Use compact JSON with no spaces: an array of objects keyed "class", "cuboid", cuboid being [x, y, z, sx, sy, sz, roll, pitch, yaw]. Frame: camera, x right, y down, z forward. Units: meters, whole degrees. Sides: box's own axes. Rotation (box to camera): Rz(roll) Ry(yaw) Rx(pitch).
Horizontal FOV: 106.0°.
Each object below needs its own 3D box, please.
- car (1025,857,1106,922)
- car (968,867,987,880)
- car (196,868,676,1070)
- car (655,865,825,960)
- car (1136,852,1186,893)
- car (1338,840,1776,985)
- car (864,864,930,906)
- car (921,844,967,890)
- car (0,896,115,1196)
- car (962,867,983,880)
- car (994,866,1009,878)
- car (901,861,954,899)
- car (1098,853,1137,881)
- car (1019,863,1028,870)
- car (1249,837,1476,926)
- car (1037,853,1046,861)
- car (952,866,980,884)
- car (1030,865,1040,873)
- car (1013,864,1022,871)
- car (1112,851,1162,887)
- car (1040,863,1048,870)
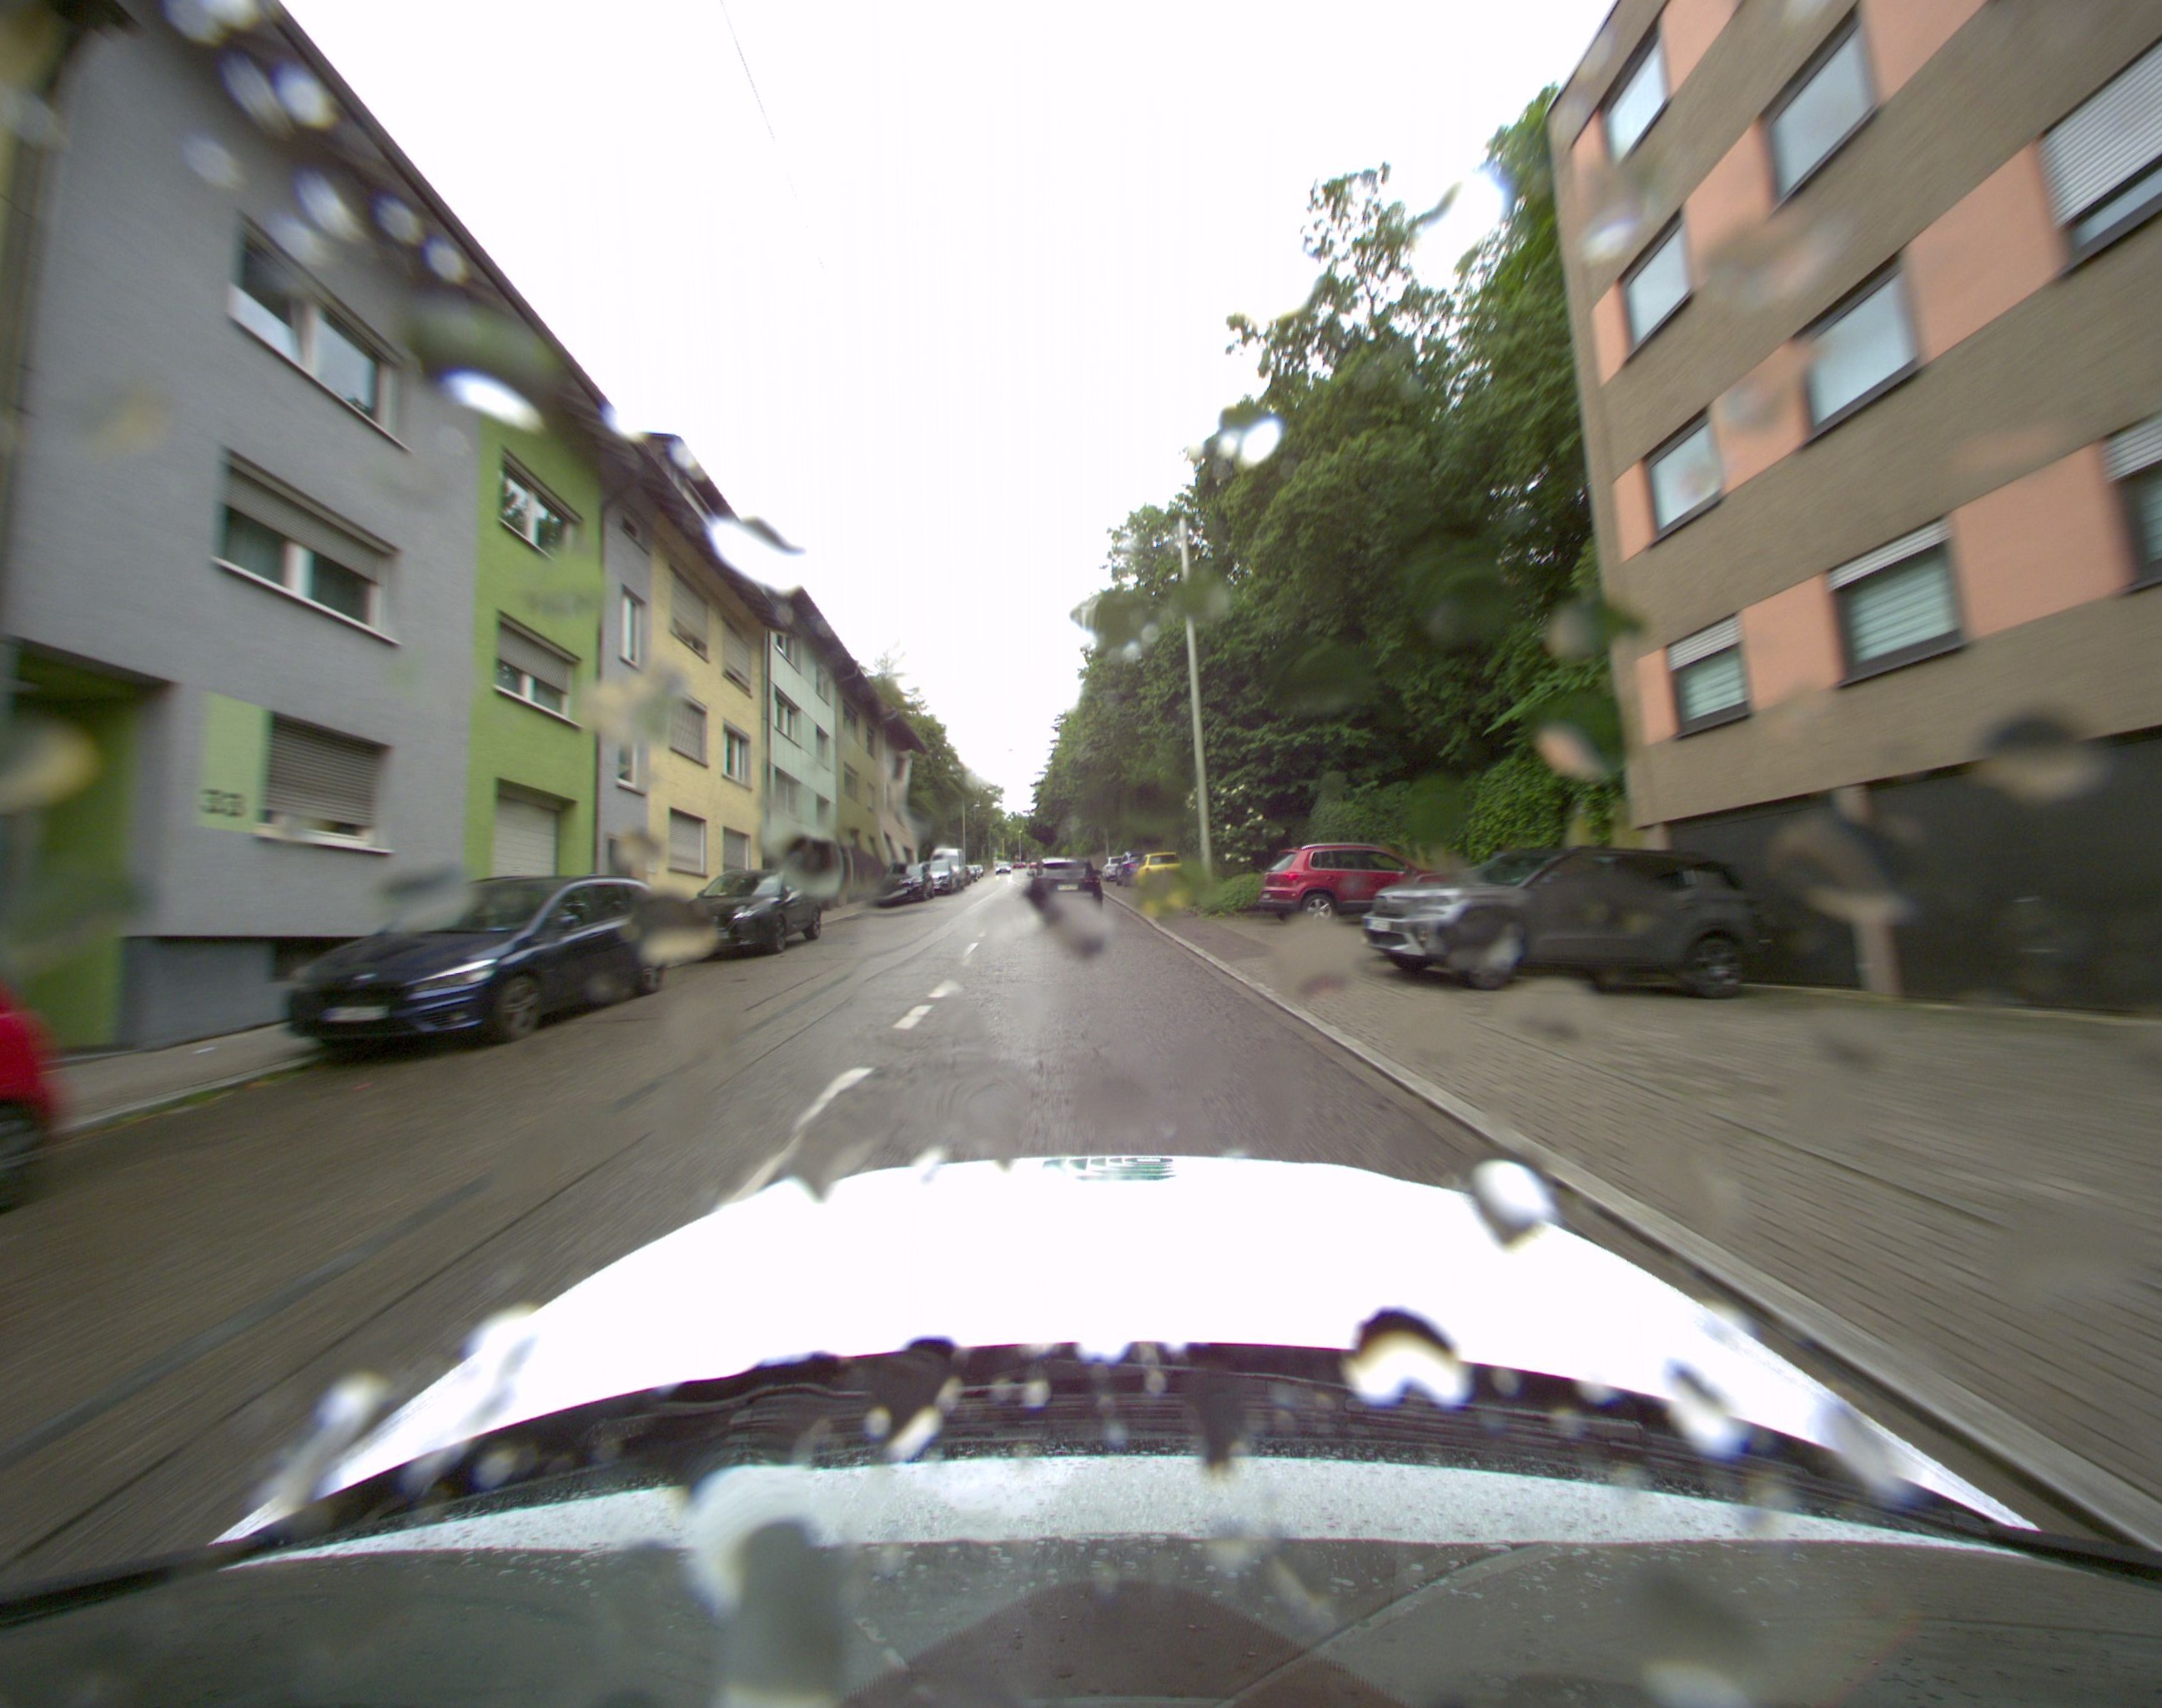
[{"class":"car","cuboid":[-0.462,0.873,21.897,1.989,1.559,3.996,0,0,-3]},{"class":"car","cuboid":[-13.037,2.442,102.768,1.986,1.384,4.452,-2,0,-4]},{"class":"car","cuboid":[-6.579,1.007,9.165,1.989,1.585,4.465,-2,0,-4]},{"class":"car","cuboid":[-6.758,1.070,16.711,1.849,1.585,4.299,-2,0,-4]},{"class":"car","cuboid":[3.141,0.715,32.656,1.628,1.530,3.999,-1,-1,0]},{"class":"car","cuboid":[5.361,0.644,9.483,4.191,1.496,1.757,1,-1,-5]},{"class":"car","cuboid":[-7.661,1.251,34.315,1.986,1.585,4.299,-2,0,-4]},{"class":"car","cuboid":[-7.860,0.720,47.262,1.986,2.475,5.776,-2,0,-4]},{"class":"car","cuboid":[-6.208,0.992,2.774,1.725,1.472,3.486,-2,0,-4]},{"class":"car","cuboid":[-12.247,2.182,91.774,1.986,1.384,4.452,-2,0,-4]},{"class":"car","cuboid":[-10.574,2.389,108.603,1.990,1.559,3.994,0,0,-4]},{"class":"car","cuboid":[-7.553,1.240,40.566,1.986,1.755,4.474,-2,0,-4]},{"class":"car","cuboid":[2.204,0.817,50.504,1.808,1.530,4.409,-4,-1,-5]},{"class":"car","cuboid":[-14.092,3.016,199.928,2.070,1.559,3.994,-1,-1,-4]},{"class":"car","cuboid":[5.829,0.573,17.125,4.193,1.735,1.756,1,-1,-7]},{"class":"car","cuboid":[-9.315,0.649,192.171,1.987,1.560,3.998,-3,-2,0]},{"class":"car","cuboid":[-9.916,1.819,70.673,1.986,1.384,4.452,-2,0,-4]},{"class":"car","cuboid":[-9.905,3.184,174.483,2.072,1.559,3.992,-1,-1,-6]},{"class":"car","cuboid":[-14.090,2.917,180.639,2.070,1.559,3.994,-1,-1,-4]},{"class":"car","cuboid":[2.656,0.711,39.599,1.807,1.530,4.412,-4,-1,-3]},{"class":"car","cuboid":[-10.371,3.497,225.911,1.987,2.014,3.999,-1,-3,0]}]
